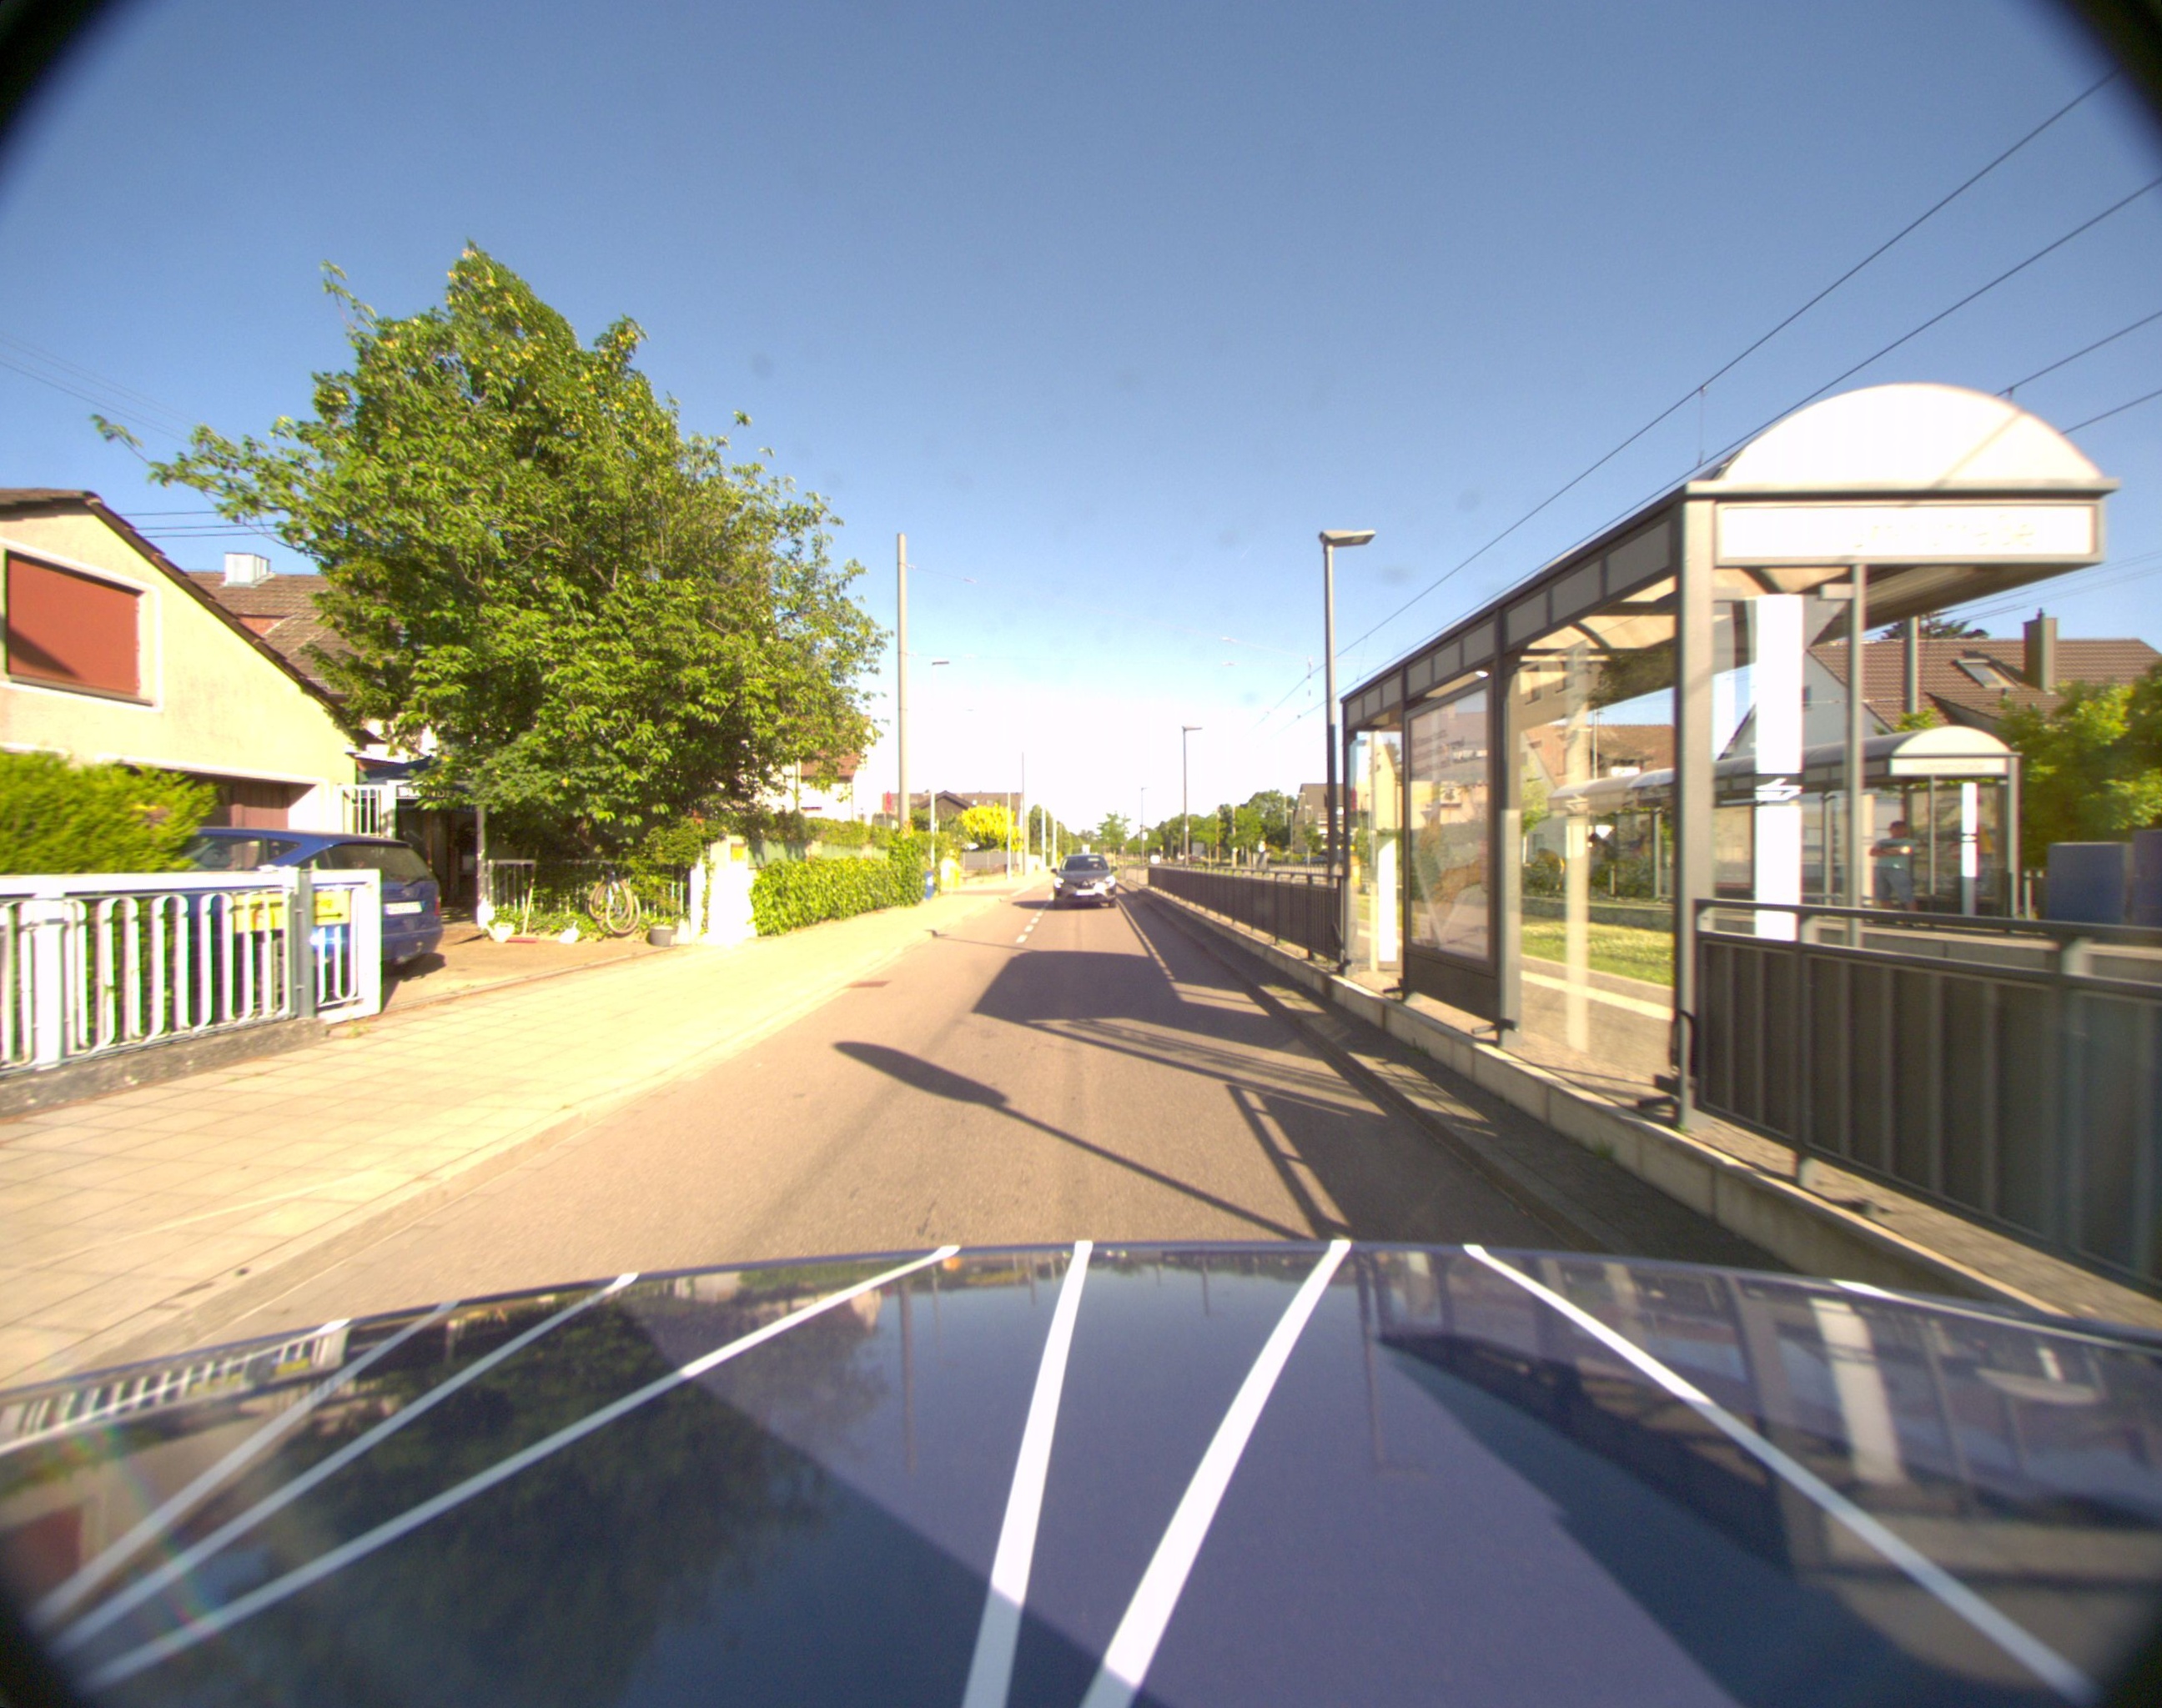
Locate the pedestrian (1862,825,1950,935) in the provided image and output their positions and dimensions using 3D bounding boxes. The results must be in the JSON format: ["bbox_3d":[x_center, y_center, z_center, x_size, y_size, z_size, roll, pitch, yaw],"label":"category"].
[{"bbox_3d":[13.149,0.399,12.126,0.501,1.686,0.771,2,0,1],"label":"pedestrian"}]

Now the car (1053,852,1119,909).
[{"bbox_3d":[0.112,0.760,23.936,1.867,1.614,3.999,-1,0,-1],"label":"car"}]

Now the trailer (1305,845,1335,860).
[{"bbox_3d":[26.881,-0.133,85.353,2.921,1.638,1.398,0,1,-2],"label":"trailer"}]

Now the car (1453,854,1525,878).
[{"bbox_3d":[26.167,0.742,48.975,1.939,1.441,5.162,0,0,0],"label":"car"}]

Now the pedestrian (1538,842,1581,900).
[{"bbox_3d":[12.967,0.450,20.623,0.677,1.527,0.749,0,0,-4],"label":"pedestrian"}]

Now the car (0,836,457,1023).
[{"bbox_3d":[-8.712,0.647,7.323,3.773,1.560,1.750,1,0,-9],"label":"car"}]

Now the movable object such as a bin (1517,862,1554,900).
[{"bbox_3d":[12.339,0.723,20.638,0.548,0.982,0.741,0,0,-4],"label":"movable object such as a bin"}]

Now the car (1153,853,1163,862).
[{"bbox_3d":[17.214,0.713,170.168,1.902,1.903,4.702,0,0,1],"label":"car"}]

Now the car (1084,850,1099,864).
[{"bbox_3d":[1.477,0.436,108.345,1.998,1.824,4.000,-2,1,1],"label":"car"}]

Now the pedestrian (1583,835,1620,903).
[{"bbox_3d":[13.261,0.383,19.360,0.521,1.698,0.581,0,0,-4],"label":"pedestrian"}]

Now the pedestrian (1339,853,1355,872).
[{"bbox_3d":[22.575,0.723,64.520,0.967,1.631,1.085,0,1,0],"label":"pedestrian"}]

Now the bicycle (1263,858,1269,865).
[{"bbox_3d":[24.389,0.950,100.117,0.424,0.936,1.748,-2,1,0],"label":"bicycle"}]
